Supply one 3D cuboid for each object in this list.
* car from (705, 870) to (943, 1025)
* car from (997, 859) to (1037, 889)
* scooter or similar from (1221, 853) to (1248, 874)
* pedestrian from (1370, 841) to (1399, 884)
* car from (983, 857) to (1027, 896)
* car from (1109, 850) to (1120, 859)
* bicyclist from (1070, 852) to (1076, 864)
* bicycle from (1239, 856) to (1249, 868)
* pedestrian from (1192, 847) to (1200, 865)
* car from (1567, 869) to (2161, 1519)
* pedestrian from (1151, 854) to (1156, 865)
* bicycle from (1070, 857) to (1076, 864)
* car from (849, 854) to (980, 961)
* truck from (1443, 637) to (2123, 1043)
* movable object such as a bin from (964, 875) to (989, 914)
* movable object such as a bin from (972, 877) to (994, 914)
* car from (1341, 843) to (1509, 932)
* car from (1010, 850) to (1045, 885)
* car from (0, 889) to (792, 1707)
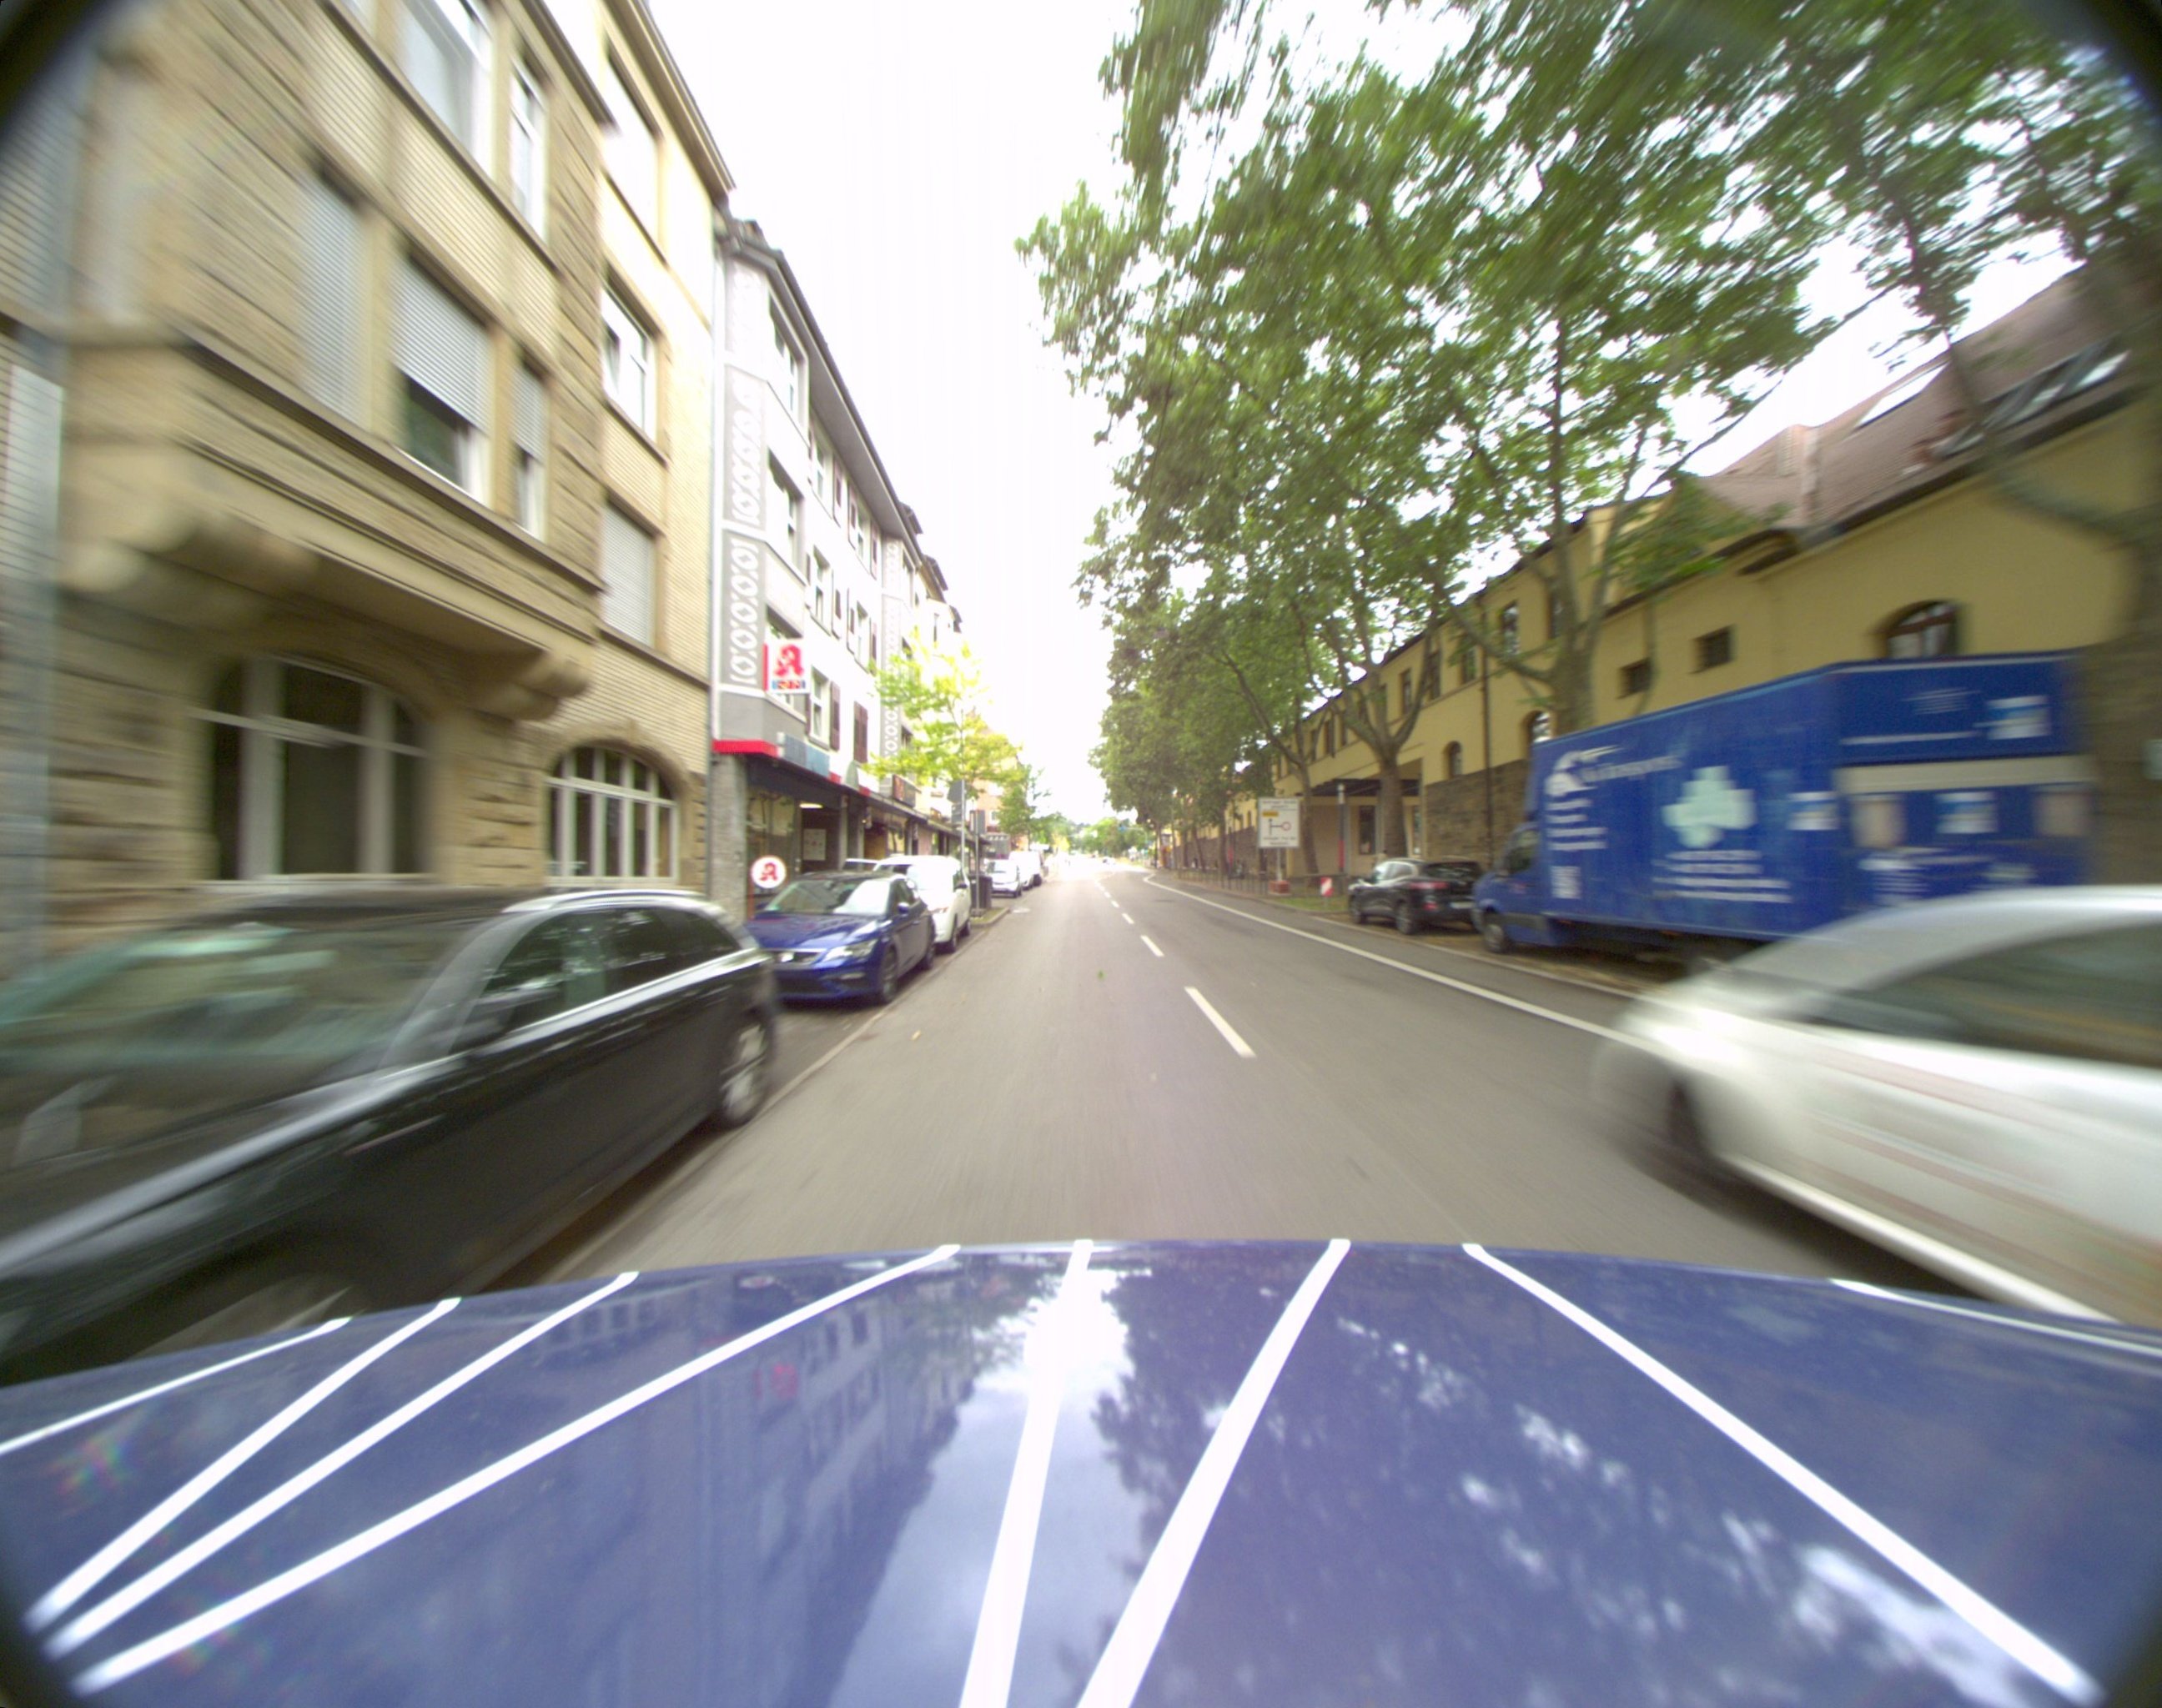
[{"bbox_3d":[-2.919,0.968,9.624,1.610,1.389,4.275,1,0,-1],"label":"car"},{"bbox_3d":[-3.190,0.992,38.703,1.687,1.407,4.041,1,0,0],"label":"car"},{"bbox_3d":[9.546,0.615,47.281,1.622,1.233,0.446,-3,1,-22],"label":"scooter or similar"},{"bbox_3d":[12.287,0.348,30.808,0.863,1.678,0.927,-2,1,9],"label":"pedestrian"},{"bbox_3d":[-3.160,0.896,32.130,1.485,1.525,3.522,1,0,1],"label":"car"},{"bbox_3d":[7.226,0.125,162.173,1.919,1.640,3.634,-2,1,7],"label":"car"},{"bbox_3d":[-1.197,0.545,108.923,0.682,1.619,0.749,-1,1,-18],"label":"bicyclist"},{"bbox_3d":[12.645,0.608,58.974,0.336,0.841,1.776,-1,0,0],"label":"bicycle"},{"bbox_3d":[11.693,0.189,77.419,0.673,1.865,0.816,-1,1,1],"label":"pedestrian"},{"bbox_3d":[3.323,0.839,2.094,1.587,1.455,3.651,2,0,0],"label":"car"},{"bbox_3d":[10.940,0.793,114.003,0.625,1.653,0.549,-2,1,2],"label":"pedestrian"},{"bbox_3d":[-1.167,0.991,108.798,0.369,0.986,1.718,-1,1,-16],"label":"bicycle"},{"bbox_3d":[-2.947,0.857,14.357,1.683,1.653,4.542,1,0,-3],"label":"car"},{"bbox_3d":[7.786,-0.136,10.160,2.221,3.396,7.246,-3,0,-1],"label":"truck"},{"bbox_3d":[-2.891,1.117,21.053,0.624,1.018,0.696,-1,1,-2],"label":"movable object such as a bin"},{"bbox_3d":[-2.842,1.194,22.075,0.624,1.018,0.696,-1,0,-8],"label":"movable object such as a bin"},{"bbox_3d":[7.469,0.636,17.026,1.736,1.679,4.251,-3,1,-1],"label":"car"},{"bbox_3d":[-3.075,0.752,44.429,1.912,1.919,4.918,1,0,-3],"label":"car"},{"bbox_3d":[-2.832,0.991,2.921,1.743,1.454,4.774,1,0,-2],"label":"car"}]
